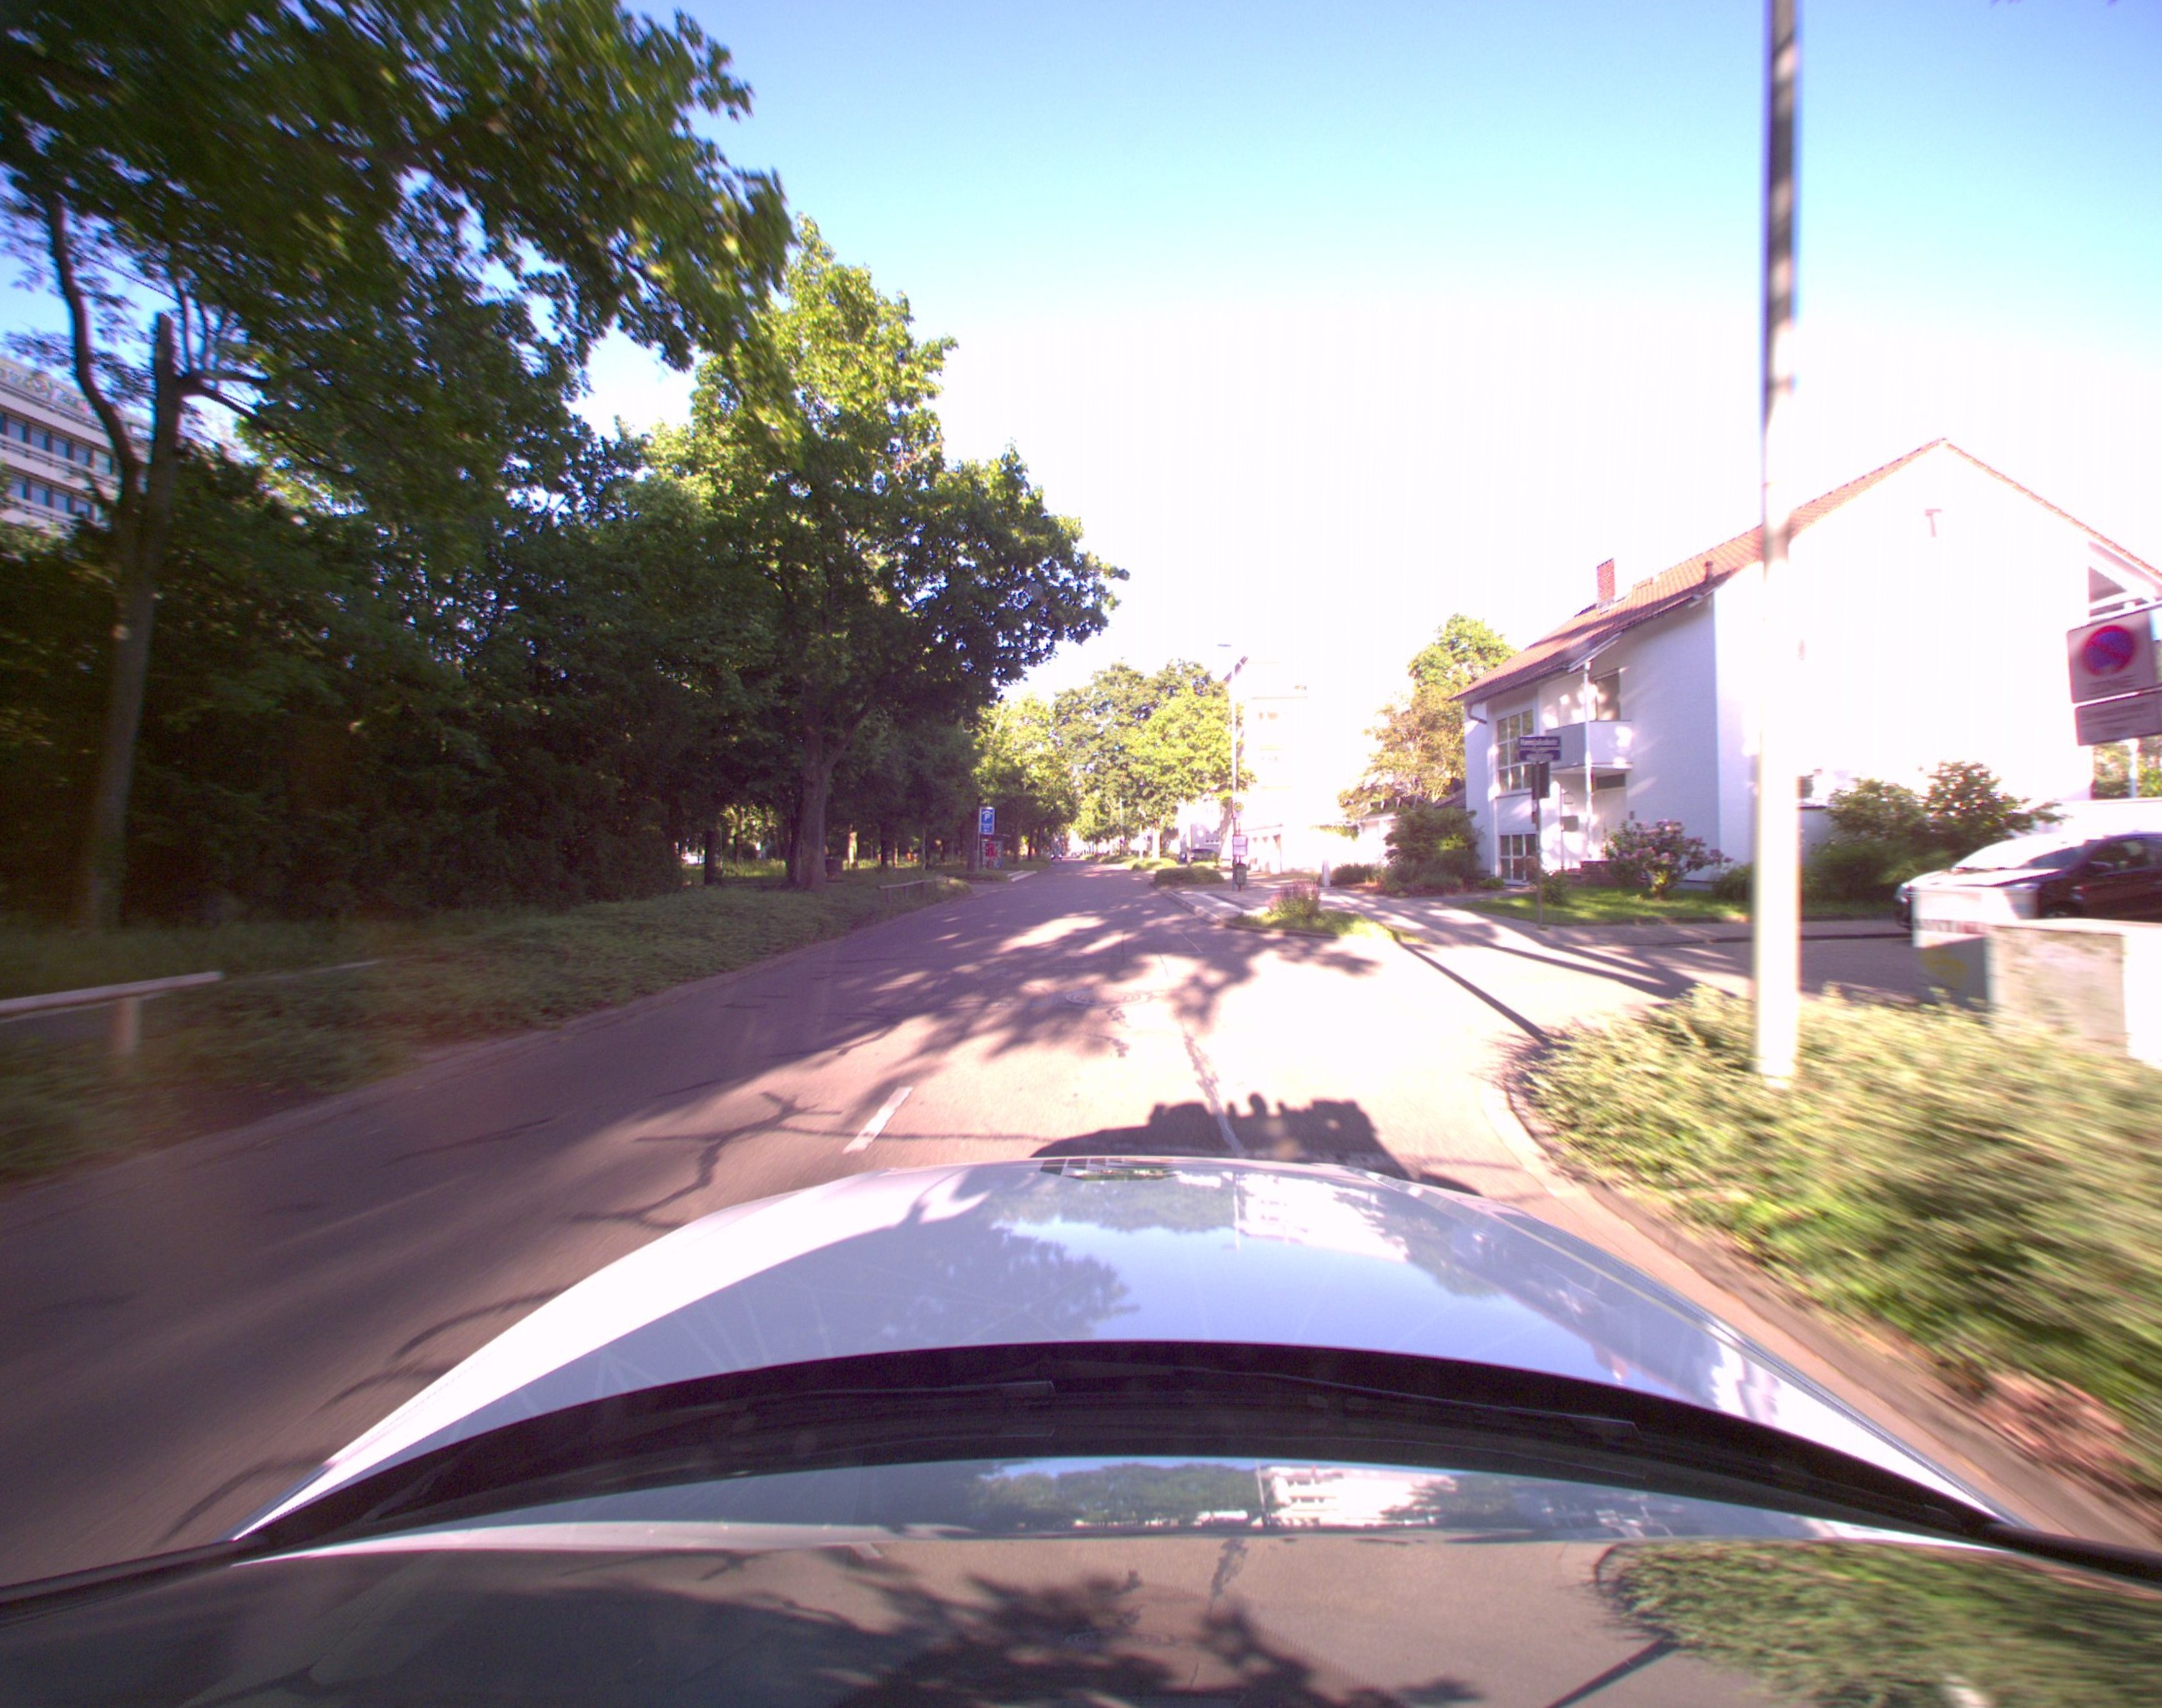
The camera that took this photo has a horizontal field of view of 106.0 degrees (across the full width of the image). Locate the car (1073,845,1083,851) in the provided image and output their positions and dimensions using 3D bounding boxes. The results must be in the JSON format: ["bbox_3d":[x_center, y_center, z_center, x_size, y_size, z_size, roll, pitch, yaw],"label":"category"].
[{"bbox_3d":[-0.851,-1.565,220.497,1.811,1.501,3.986,-2,1,-10],"label":"car"}]

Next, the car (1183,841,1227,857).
[{"bbox_3d":[12.053,-0.462,79.264,4.030,1.514,1.725,-1,-1,-3],"label":"car"}]

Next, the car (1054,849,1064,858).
[{"bbox_3d":[-4.143,-0.108,151.499,1.839,1.578,4.333,-3,1,-2],"label":"car"}]

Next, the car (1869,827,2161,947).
[{"bbox_3d":[13.565,0.393,11.344,3.724,1.501,1.689,-1,0,-4],"label":"car"}]

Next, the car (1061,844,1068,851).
[{"bbox_3d":[-5.026,-2.004,248.963,1.809,1.925,3.991,0,1,-6],"label":"car"}]

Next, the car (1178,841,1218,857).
[{"bbox_3d":[12.520,-0.508,87.047,3.978,1.581,1.808,-1,2,-4],"label":"car"}]
